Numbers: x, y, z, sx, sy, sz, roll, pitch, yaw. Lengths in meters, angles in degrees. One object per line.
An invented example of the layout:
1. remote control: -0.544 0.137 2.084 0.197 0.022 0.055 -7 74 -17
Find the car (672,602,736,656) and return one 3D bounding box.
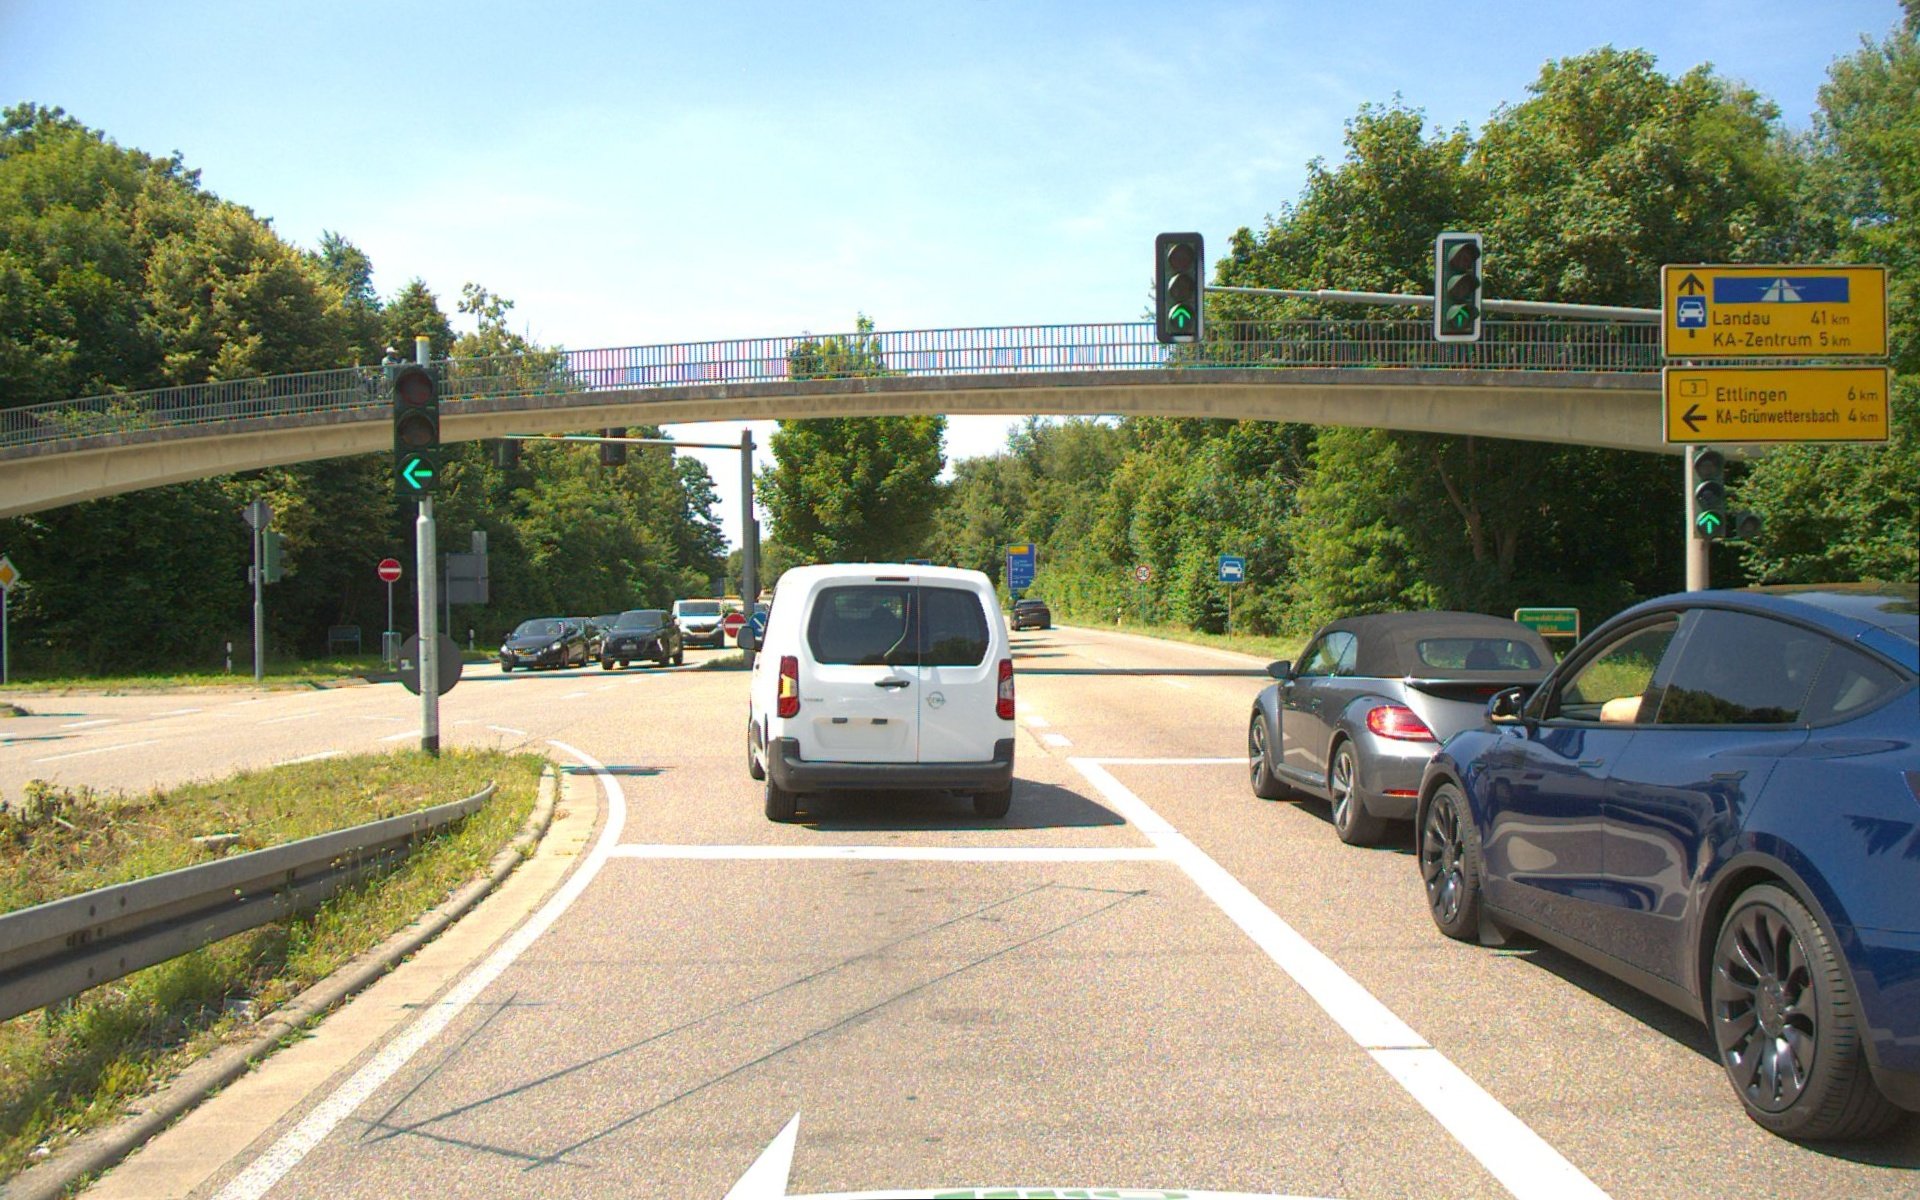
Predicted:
1. car: -10.290 1.151 66.866 2.166 2.028 5.481 -2 0 -6

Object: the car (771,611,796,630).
1. car: -16.581 1.938 155.688 1.968 1.629 4.054 -2 0 -2

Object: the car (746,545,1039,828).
1. car: -0.689 0.559 12.993 1.815 1.857 3.973 1 0 -9

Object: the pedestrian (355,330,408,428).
1. pedestrian: -14.072 -5.363 40.246 0.765 2.177 0.932 -3 -2 14

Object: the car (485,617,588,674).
1. car: -12.072 1.269 47.406 1.968 1.486 4.054 -2 0 -2

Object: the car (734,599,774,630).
1. car: -14.227 0.967 114.438 2.164 2.028 4.732 -2 0 -2

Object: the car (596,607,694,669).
1. car: -8.507 0.993 44.958 1.953 1.550 4.026 -1 0 -2

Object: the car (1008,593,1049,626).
1. car: 3.728 0.482 91.002 2.000 1.728 5.085 -1 0 -1

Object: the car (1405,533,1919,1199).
1. car: 3.235 0.683 5.985 1.862 1.673 4.518 1 0 -2

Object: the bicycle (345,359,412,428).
1. bicycle: -14.040 -4.976 39.943 1.494 1.500 0.470 -3 -2 14

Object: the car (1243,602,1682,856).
1. car: 3.355 0.778 11.881 1.862 1.503 3.938 1 0 -2

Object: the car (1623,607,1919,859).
1. car: 6.687 0.825 12.046 1.862 1.503 4.379 1 0 -2
